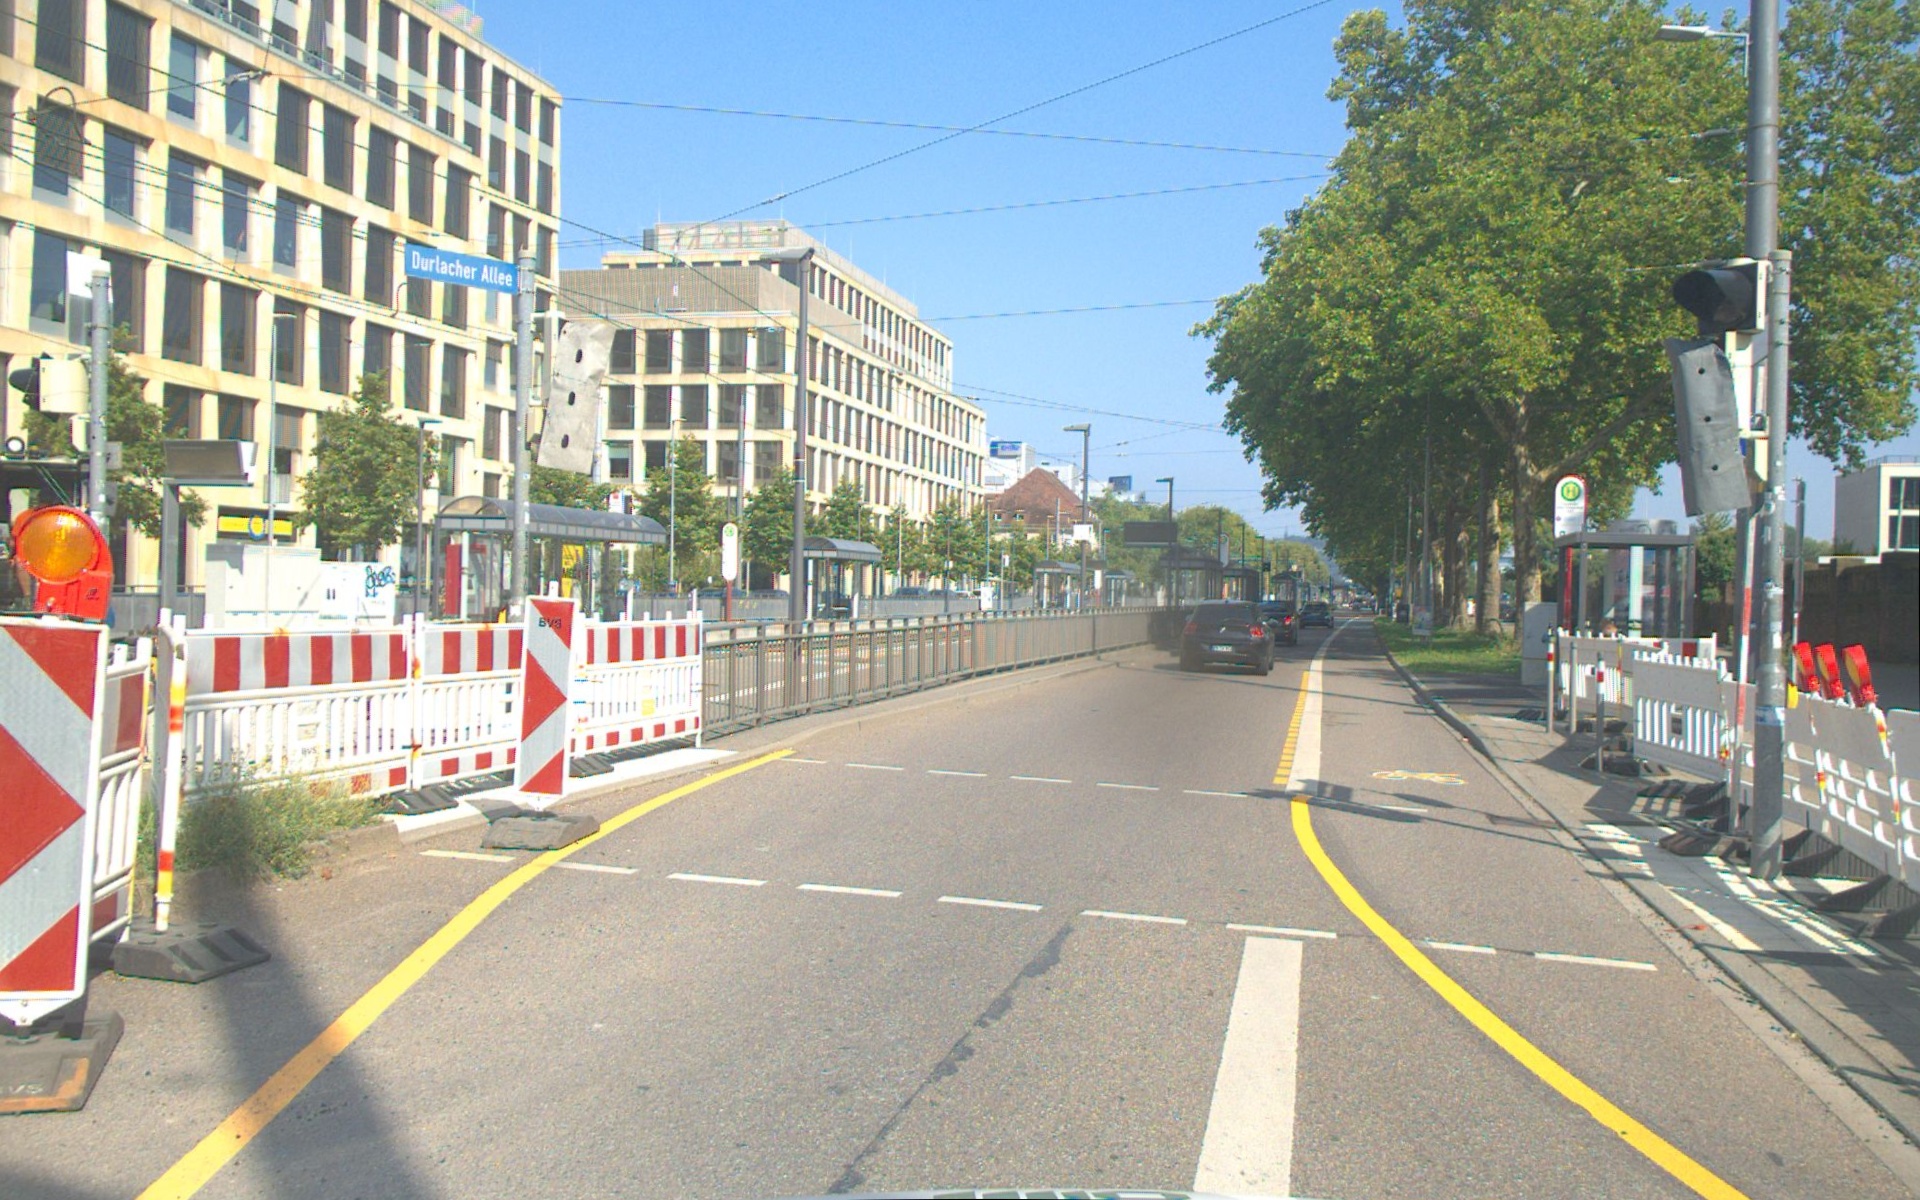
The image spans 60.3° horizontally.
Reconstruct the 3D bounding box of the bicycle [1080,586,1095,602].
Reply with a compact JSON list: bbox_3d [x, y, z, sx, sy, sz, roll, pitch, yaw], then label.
[{"bbox_3d":[9.323,-0.416,121.020,0.462,1.167,1.481,2,0,28],"label":"bicycle"}]

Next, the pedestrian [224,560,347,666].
[{"bbox_3d":[-6.433,0.114,15.806,0.686,0.971,0.882,1,1,14],"label":"pedestrian"}]

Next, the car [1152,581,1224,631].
[{"bbox_3d":[7.741,0.199,55.894,1.951,1.586,4.003,2,0,14],"label":"car"}]

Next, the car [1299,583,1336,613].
[{"bbox_3d":[19.442,-0.116,89.793,1.867,1.564,4.003,1,0,13],"label":"car"}]

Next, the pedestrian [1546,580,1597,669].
[{"bbox_3d":[11.649,0.456,31.522,0.863,1.654,0.823,2,1,20],"label":"pedestrian"}]

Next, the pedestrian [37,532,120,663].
[{"bbox_3d":[-8.158,-0.034,15.299,0.582,1.175,0.694,1,1,-36],"label":"pedestrian"}]

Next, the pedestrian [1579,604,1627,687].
[{"bbox_3d":[9.763,0.679,25.124,0.595,1.239,0.575,0,0,11],"label":"pedestrian"}]

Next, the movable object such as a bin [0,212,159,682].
[{"bbox_3d":[-10.899,-1.541,16.744,2.924,4.633,4.215,1,1,16],"label":"movable object such as a bin"}]

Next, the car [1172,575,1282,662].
[{"bbox_3d":[5.540,0.342,33.947,1.867,1.564,4.003,4,1,13],"label":"car"}]

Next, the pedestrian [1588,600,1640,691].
[{"bbox_3d":[9.610,0.660,24.323,0.595,1.299,0.760,0,0,11],"label":"pedestrian"}]

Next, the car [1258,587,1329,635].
[{"bbox_3d":[10.996,0.358,54.392,1.951,1.466,4.003,2,0,16],"label":"car"}]
